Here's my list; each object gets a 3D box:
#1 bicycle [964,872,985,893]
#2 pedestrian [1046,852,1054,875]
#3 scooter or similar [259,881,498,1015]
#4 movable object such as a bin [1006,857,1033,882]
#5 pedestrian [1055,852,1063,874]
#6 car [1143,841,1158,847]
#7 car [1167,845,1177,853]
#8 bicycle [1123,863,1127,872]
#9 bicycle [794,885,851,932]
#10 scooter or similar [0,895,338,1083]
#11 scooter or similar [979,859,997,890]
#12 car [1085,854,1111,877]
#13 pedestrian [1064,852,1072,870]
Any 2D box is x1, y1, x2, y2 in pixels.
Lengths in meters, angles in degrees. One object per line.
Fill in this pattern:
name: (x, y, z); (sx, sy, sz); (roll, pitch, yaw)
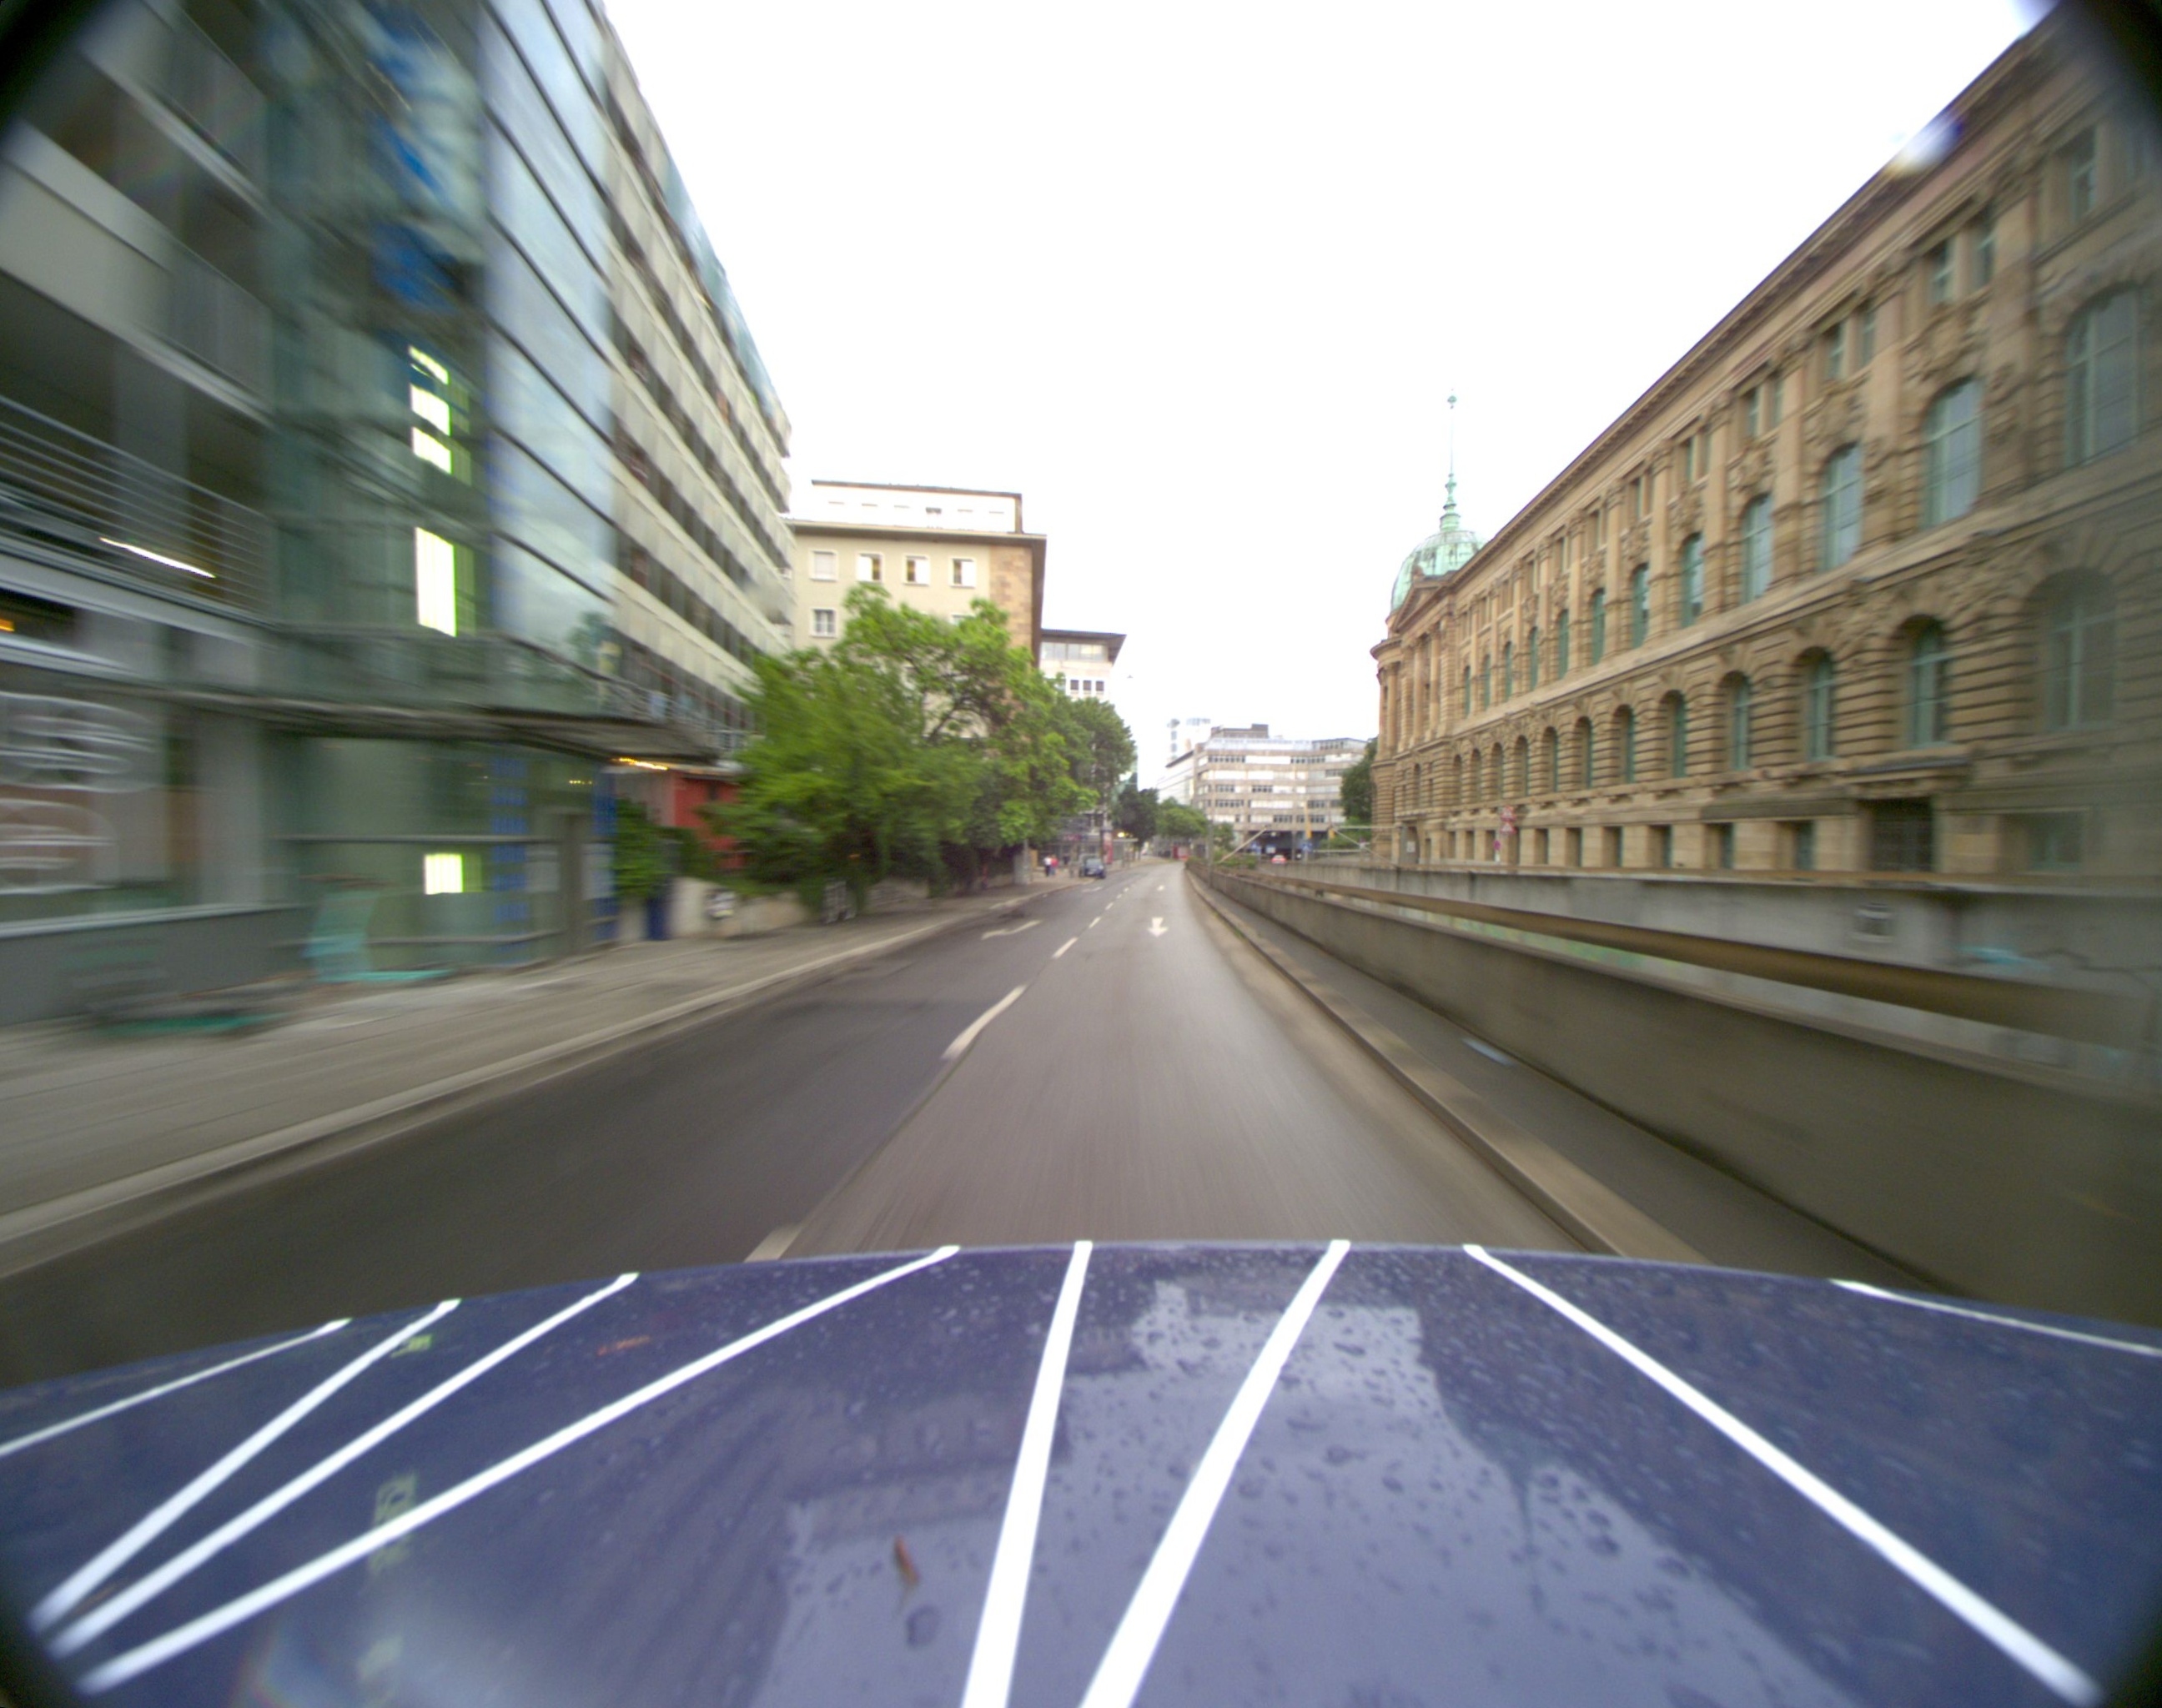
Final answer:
bicycle: (-4.233, 1.118, 30.317); (0.501, 0.750, 1.212); (3, 1, 7)
pedestrian: (-2.163, 0.667, 53.040); (0.525, 1.593, 0.674); (0, 1, 2)
scooter or similar: (-7.199, 0.933, 7.889); (1.642, 1.260, 0.742); (1, 0, -18)
movable object such as a bin: (-3.373, 0.832, 41.757); (1.241, 1.303, 1.234); (2, 1, 8)
pedestrian: (-1.538, 0.638, 53.763); (0.526, 1.483, 0.673); (0, 1, -5)
car: (19.667, -2.785, 215.320); (3.774, 1.641, 1.796); (2, 1, -17)
car: (21.725, -1.202, 180.748); (1.998, 2.068, 4.000); (-1, 1, 3)
bicycle: (5.098, 1.576, 88.233); (0.490, 1.006, 1.928); (0, 1, 4)
bicycle: (-5.620, 1.160, 16.594); (0.471, 0.880, 1.690); (0, 1, 7)
scooter or similar: (-6.939, 0.964, 5.794); (1.642, 1.260, 0.742); (1, 0, -18)
scooter or similar: (-3.954, 0.860, 32.320); (0.448, 1.252, 1.212); (2, 1, 7)
car: (1.362, 0.857, 59.027); (1.772, 1.610, 4.158); (0, 1, 5)
pedestrian: (-1.248, 0.678, 73.834); (0.781, 1.762, 0.862); (0, 1, 1)
